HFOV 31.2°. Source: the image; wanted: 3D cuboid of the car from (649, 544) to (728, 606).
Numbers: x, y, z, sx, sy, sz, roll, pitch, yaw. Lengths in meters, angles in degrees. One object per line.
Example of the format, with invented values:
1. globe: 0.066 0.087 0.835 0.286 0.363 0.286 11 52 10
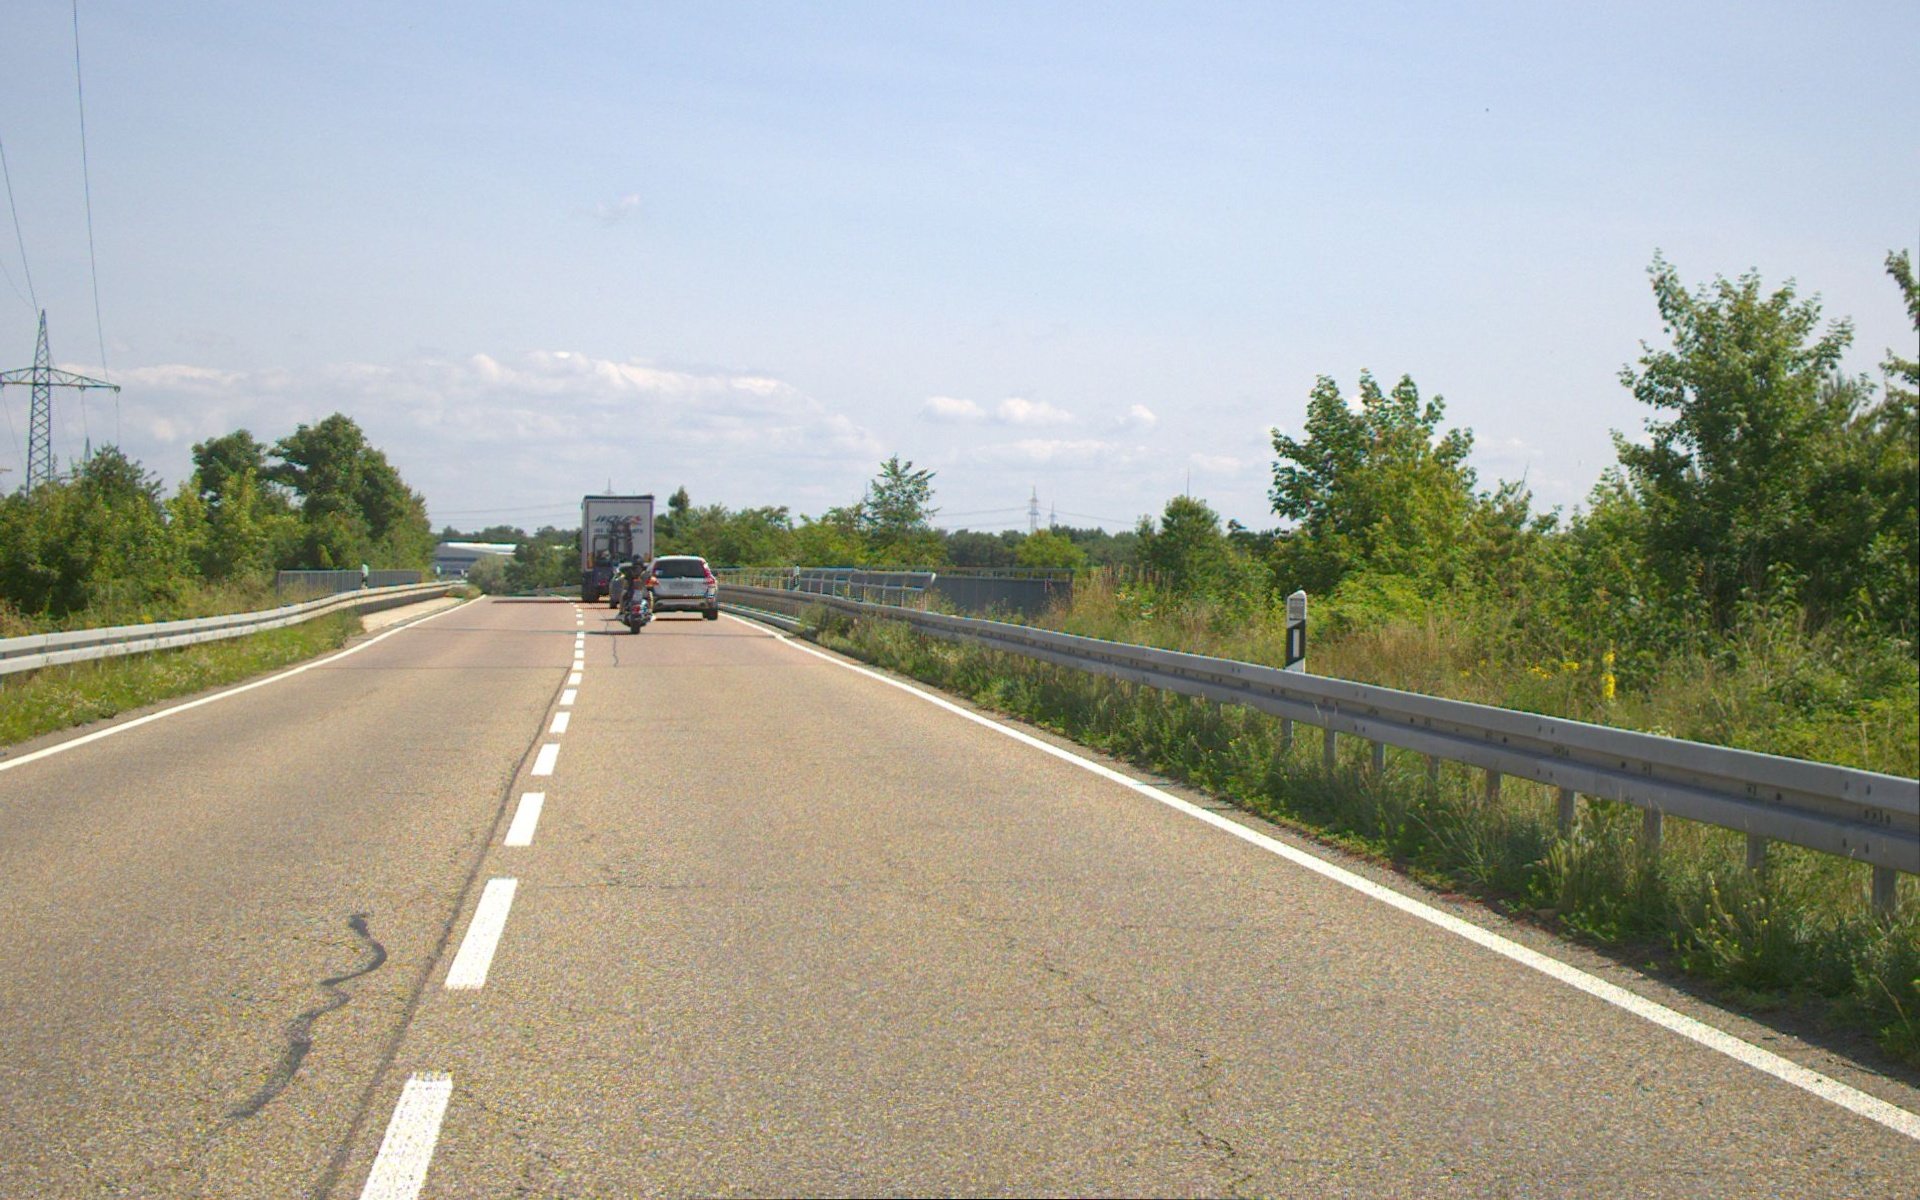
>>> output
1. car: -6.641 -0.625 83.705 1.825 1.446 4.001 0 1 -6

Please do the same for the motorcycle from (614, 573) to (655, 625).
1. motorcycle: -6.456 -0.026 68.274 0.780 0.972 2.362 0 1 -5

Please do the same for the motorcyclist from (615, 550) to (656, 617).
1. motorcyclist: -6.445 -0.328 68.290 0.780 1.321 0.813 0 1 -5

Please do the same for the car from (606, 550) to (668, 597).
1. car: -10.139 -0.836 108.015 1.865 1.415 4.001 1 1 -5

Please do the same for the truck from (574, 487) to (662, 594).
1. truck: -13.240 -2.260 133.024 3.241 3.965 9.445 0 1 -6
